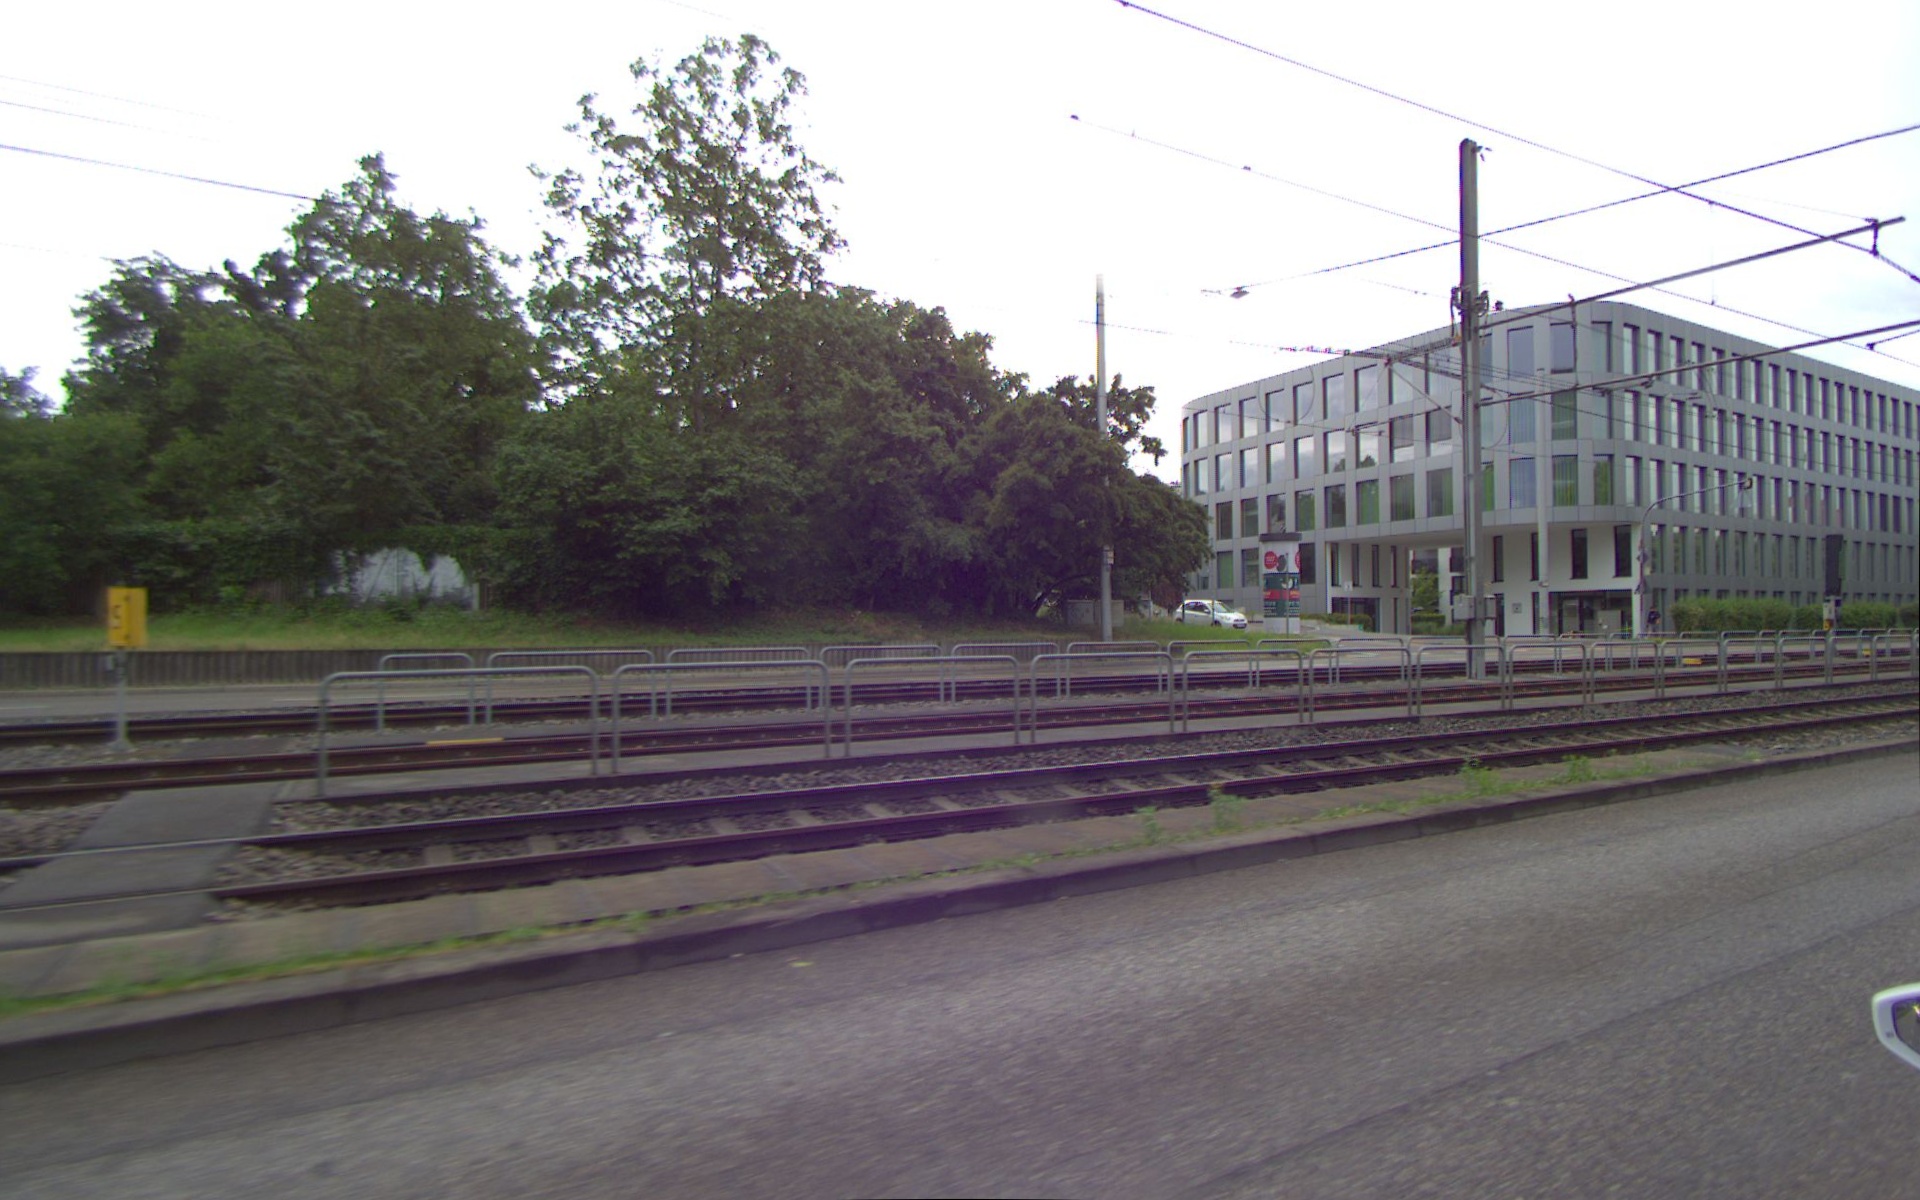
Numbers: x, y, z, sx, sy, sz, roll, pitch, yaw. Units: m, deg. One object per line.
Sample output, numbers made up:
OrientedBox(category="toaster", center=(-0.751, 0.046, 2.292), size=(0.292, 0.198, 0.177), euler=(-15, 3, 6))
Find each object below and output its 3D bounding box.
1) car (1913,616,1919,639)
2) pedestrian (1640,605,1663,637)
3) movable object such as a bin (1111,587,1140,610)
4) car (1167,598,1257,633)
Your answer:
OrientedBox(category="car", center=(55.239, 1.533, 56.201), size=(3.941, 1.260, 1.748), euler=(1, -1, -30))
OrientedBox(category="pedestrian", center=(36.423, 1.121, 52.908), size=(0.835, 1.669, 0.720), euler=(1, 0, -30))
OrientedBox(category="movable object such as a bin", center=(10.508, -0.117, 63.842), size=(1.261, 1.414, 1.258), euler=(0, 2, -38))
OrientedBox(category="car", center=(11.863, 0.699, 47.503), size=(1.904, 1.472, 3.897), euler=(1, 2, -32))
